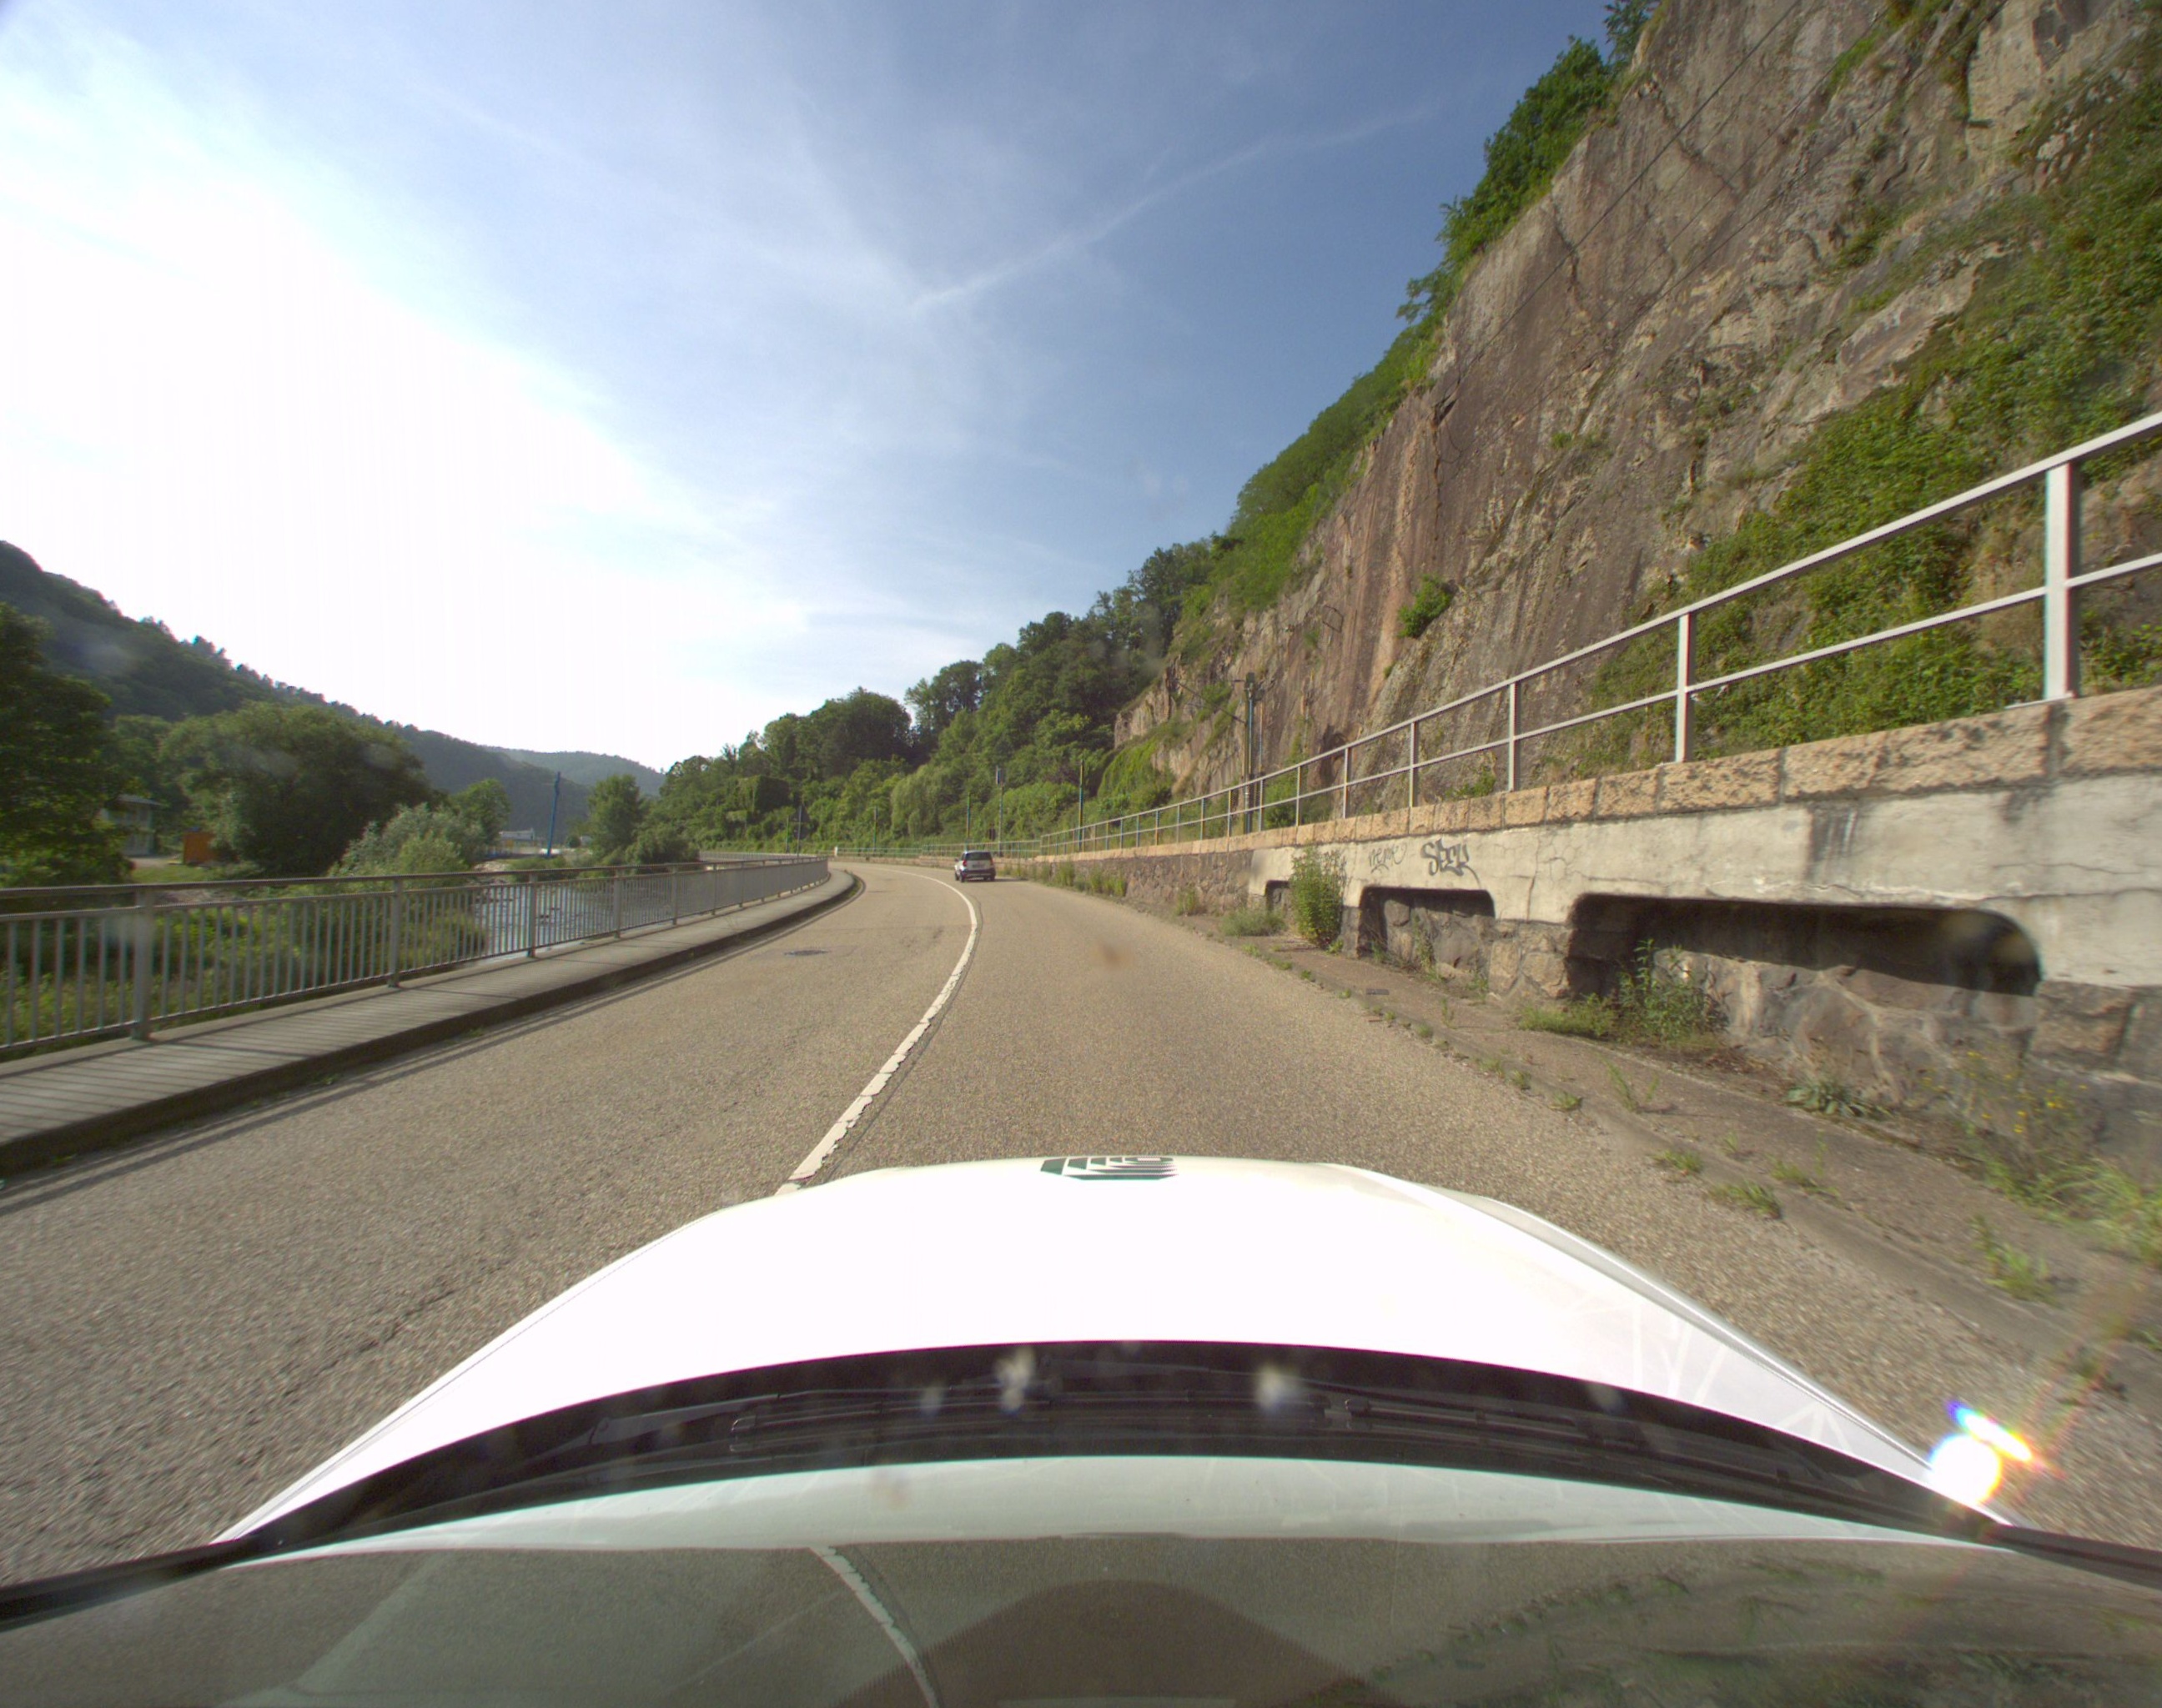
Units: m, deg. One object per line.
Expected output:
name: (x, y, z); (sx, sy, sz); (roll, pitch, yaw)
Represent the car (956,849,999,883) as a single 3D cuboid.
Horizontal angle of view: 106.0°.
car: (-5.477, 0.592, 42.899); (1.874, 1.655, 3.983); (-1, 1, -13)
